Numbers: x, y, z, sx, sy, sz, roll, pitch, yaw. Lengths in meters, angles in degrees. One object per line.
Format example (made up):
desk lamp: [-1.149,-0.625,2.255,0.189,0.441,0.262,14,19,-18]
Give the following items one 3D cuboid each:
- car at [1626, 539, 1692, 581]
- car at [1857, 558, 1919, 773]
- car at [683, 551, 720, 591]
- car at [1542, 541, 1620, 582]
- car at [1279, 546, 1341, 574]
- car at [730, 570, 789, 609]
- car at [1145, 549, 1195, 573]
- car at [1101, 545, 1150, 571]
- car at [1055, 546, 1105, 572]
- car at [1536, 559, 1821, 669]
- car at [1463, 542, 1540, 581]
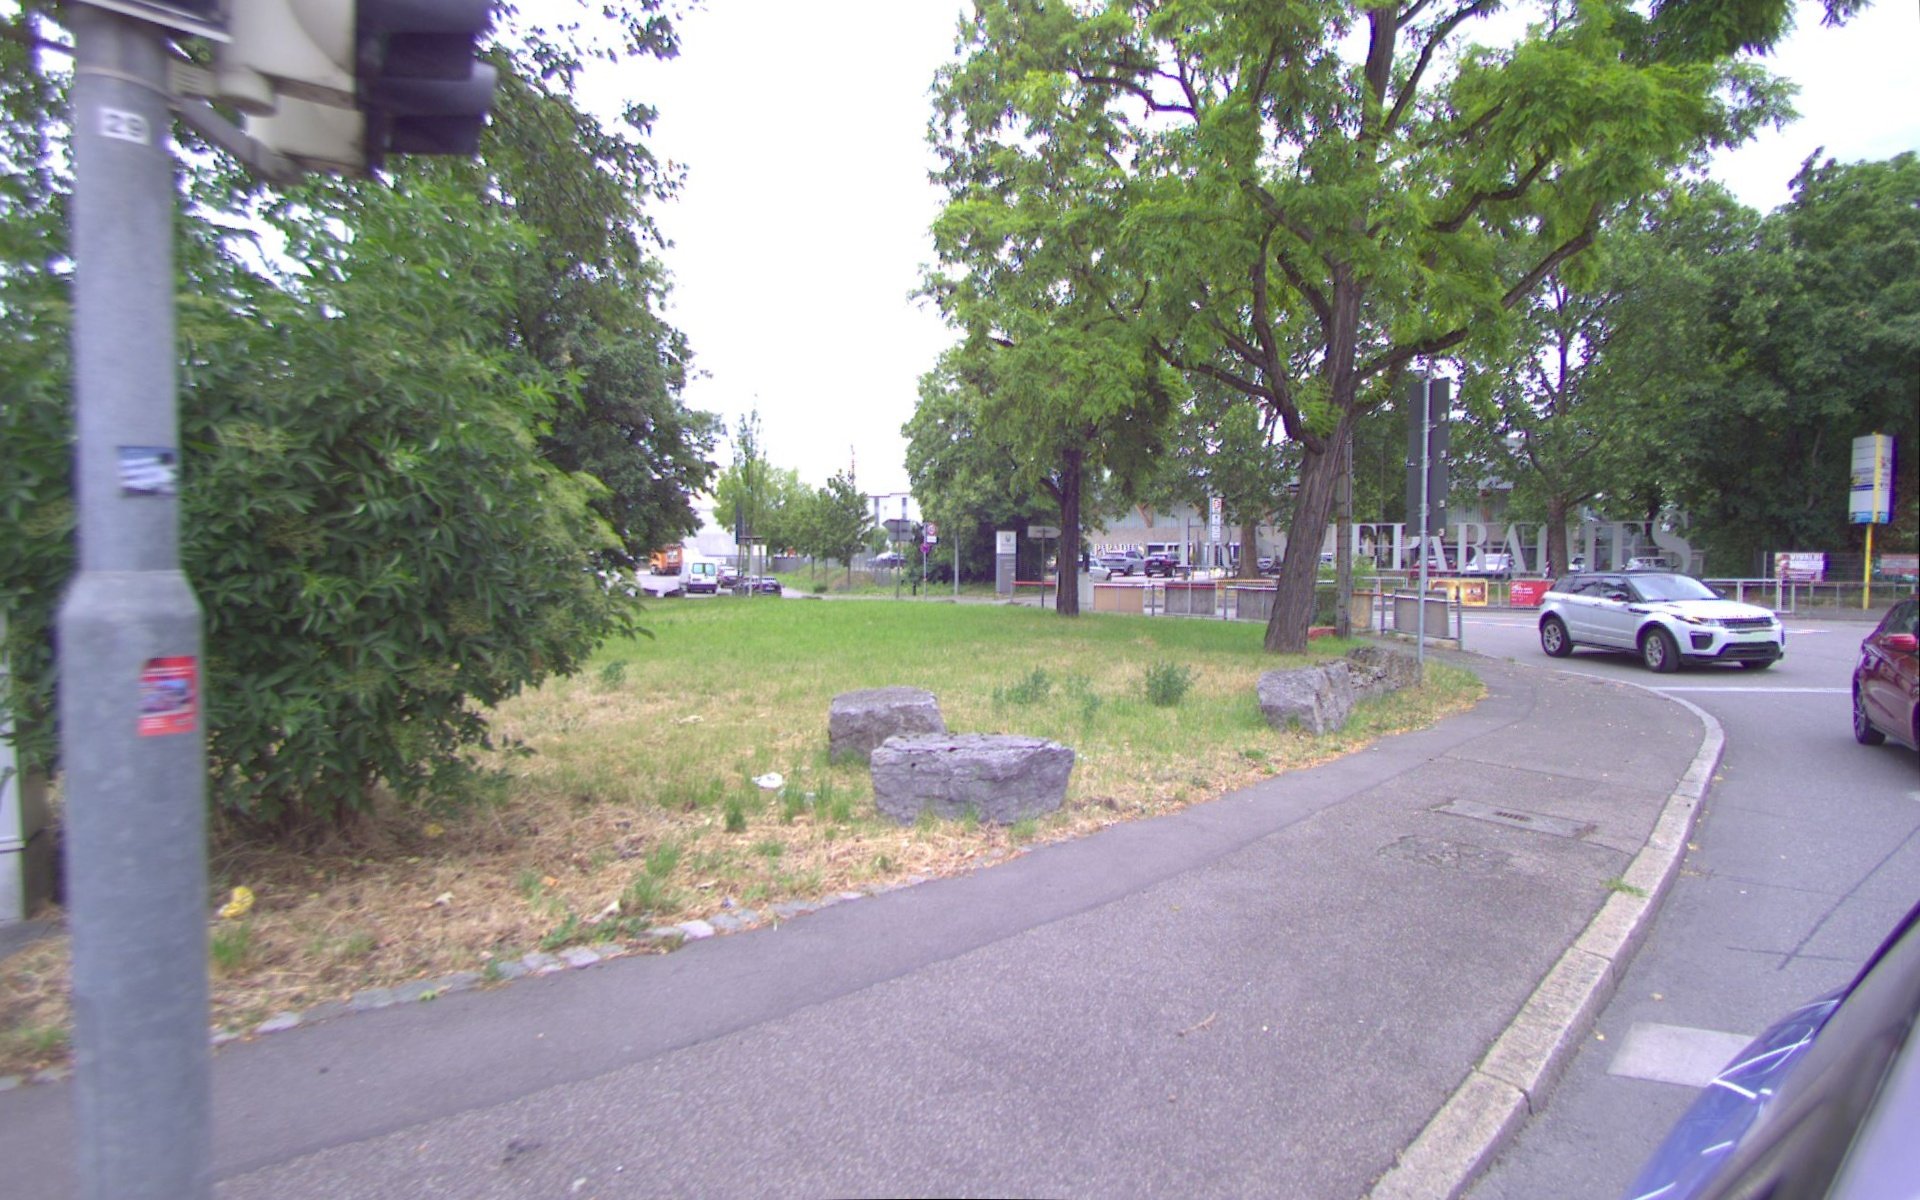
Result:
car: [28.859,-1.670,41.710,1.989,1.475,4.639,-2,2,38]
car: [8.558,0.473,7.999,1.757,1.548,3.695,0,3,35]
car: [-18.270,-2.012,71.382,2.147,2.572,6.497,-4,2,-16]
car: [26.490,-1.651,43.080,1.992,1.475,4.632,-2,2,42]
car: [21.376,-2.447,61.615,1.928,1.448,5.181,-2,2,39]
car: [-11.721,-0.654,58.759,1.959,1.473,5.236,11,1,-25]
car: [13.877,-2.580,66.762,1.903,1.526,3.954,2,3,33]
car: [11.297,-2.857,68.871,1.903,1.721,3.954,2,3,33]
car: [8.384,-2.838,70.230,1.903,1.721,3.954,2,3,33]
car: [12.266,0.156,17.683,1.880,1.588,4.116,-3,2,-2]
car: [24.293,-1.749,45.321,1.992,1.475,4.632,-2,2,42]
